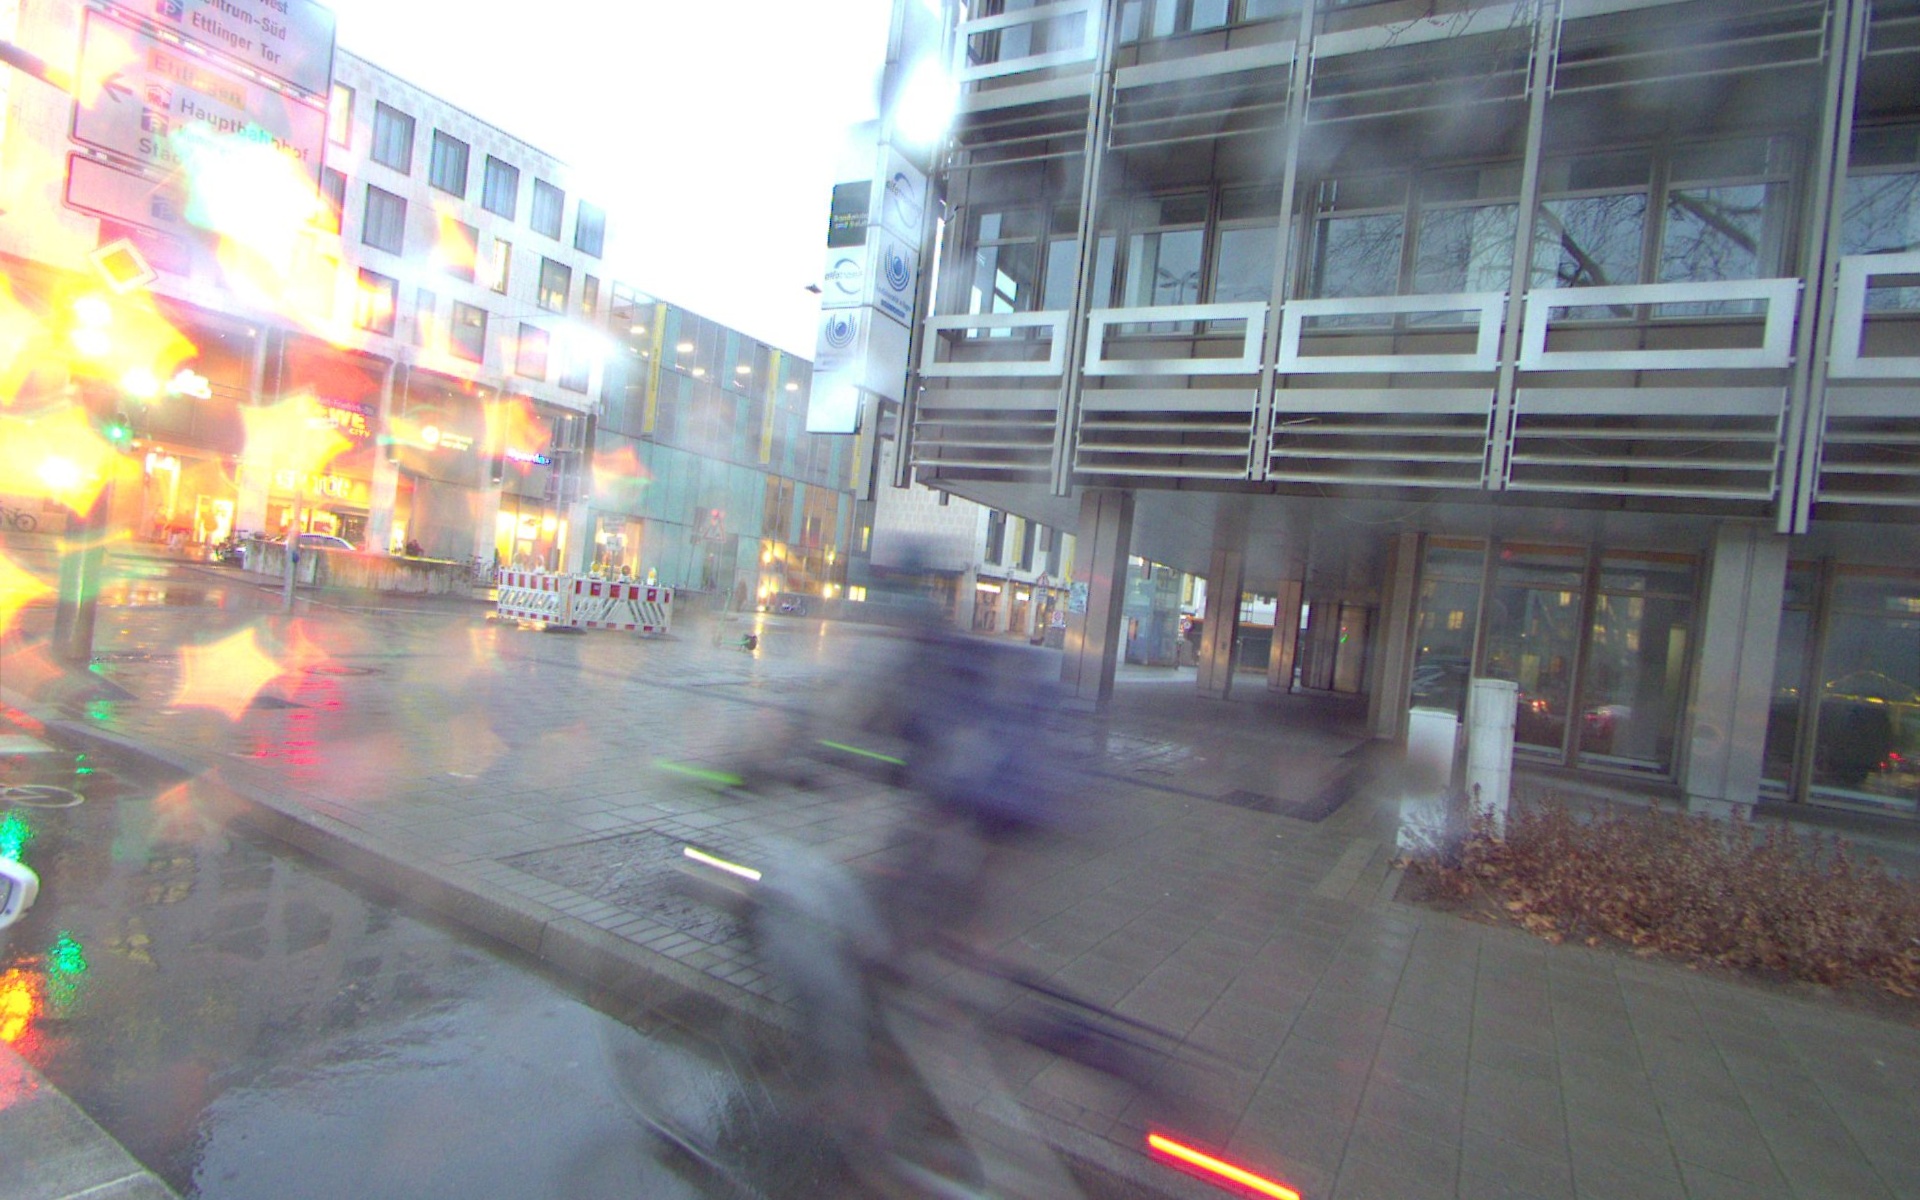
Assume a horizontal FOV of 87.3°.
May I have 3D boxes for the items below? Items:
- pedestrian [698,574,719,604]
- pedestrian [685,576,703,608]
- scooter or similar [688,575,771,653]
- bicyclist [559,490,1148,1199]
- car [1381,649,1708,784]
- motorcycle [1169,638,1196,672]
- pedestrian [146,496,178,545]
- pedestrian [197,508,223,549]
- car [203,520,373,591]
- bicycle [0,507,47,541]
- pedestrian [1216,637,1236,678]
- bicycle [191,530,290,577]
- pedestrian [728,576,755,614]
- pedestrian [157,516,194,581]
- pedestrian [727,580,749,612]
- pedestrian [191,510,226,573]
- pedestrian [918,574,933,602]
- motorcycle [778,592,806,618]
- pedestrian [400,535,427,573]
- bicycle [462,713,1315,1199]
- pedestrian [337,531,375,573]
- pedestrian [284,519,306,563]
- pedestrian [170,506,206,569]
[{"bbox_3d":[-15.161,-0.653,60.620,0.770,1.703,0.742,6,-1,38],"label":"pedestrian"},{"bbox_3d":[-15.131,-0.443,57.167,0.573,1.703,0.542,6,-1,38],"label":"pedestrian"},{"bbox_3d":[-4.642,0.271,20.212,1.470,1.368,0.593,7,-1,32],"label":"scooter or similar"},{"bbox_3d":[-0.238,0.663,2.326,0.948,1.680,0.703,7,1,32],"label":"bicyclist"},{"bbox_3d":[8.715,1.648,15.233,3.935,1.327,1.994,6,1,33],"label":"car"},{"bbox_3d":[9.745,2.406,43.985,0.584,1.368,1.493,7,-1,29],"label":"motorcycle"},{"bbox_3d":[-36.031,-3.592,45.436,0.688,2.038,0.845,7,1,40],"label":"pedestrian"},{"bbox_3d":[-33.629,-3.187,45.133,0.729,1.740,0.733,6,1,-31],"label":"pedestrian"},{"bbox_3d":[-21.690,-1.404,32.614,1.968,1.636,3.994,6,-2,33],"label":"car"},{"bbox_3d":[-36.331,-2.958,38.688,0.515,1.082,1.651,7,-2,28],"label":"bicycle"},{"bbox_3d":[12.288,2.661,46.518,0.678,1.796,0.660,7,-1,16],"label":"pedestrian"},{"bbox_3d":[-26.308,-1.674,36.860,0.941,1.375,2.718,6,-1,28],"label":"bicycle"},{"bbox_3d":[-10.428,-0.237,47.998,0.770,1.703,0.742,6,-1,38],"label":"pedestrian"},{"bbox_3d":[-31.476,-2.074,40.347,0.745,2.469,0.716,6,-1,31],"label":"pedestrian"},{"bbox_3d":[-12.876,-0.226,58.372,0.770,1.703,0.742,6,-1,38],"label":"pedestrian"},{"bbox_3d":[-31.430,-2.437,42.072,0.778,2.477,0.694,6,-1,32],"label":"pedestrian"},{"bbox_3d":[-2.210,-0.770,64.048,0.573,1.703,0.542,6,-1,38],"label":"pedestrian"},{"bbox_3d":[-10.191,0.290,61.050,0.585,1.368,1.491,7,-1,36],"label":"motorcycle"},{"bbox_3d":[-26.476,-2.234,48.751,0.519,1.705,0.894,6,0,31],"label":"pedestrian"},{"bbox_3d":[-0.233,0.956,2.306,1.754,1.107,0.709,7,0,32],"label":"bicycle"},{"bbox_3d":[-27.012,-2.160,45.020,0.810,1.703,1.032,6,-1,31],"label":"pedestrian"},{"bbox_3d":[-29.002,-2.552,43.858,0.355,1.849,0.551,6,1,32],"label":"pedestrian"},{"bbox_3d":[-31.795,-2.560,41.425,0.745,2.469,0.691,6,-1,31],"label":"pedestrian"}]
